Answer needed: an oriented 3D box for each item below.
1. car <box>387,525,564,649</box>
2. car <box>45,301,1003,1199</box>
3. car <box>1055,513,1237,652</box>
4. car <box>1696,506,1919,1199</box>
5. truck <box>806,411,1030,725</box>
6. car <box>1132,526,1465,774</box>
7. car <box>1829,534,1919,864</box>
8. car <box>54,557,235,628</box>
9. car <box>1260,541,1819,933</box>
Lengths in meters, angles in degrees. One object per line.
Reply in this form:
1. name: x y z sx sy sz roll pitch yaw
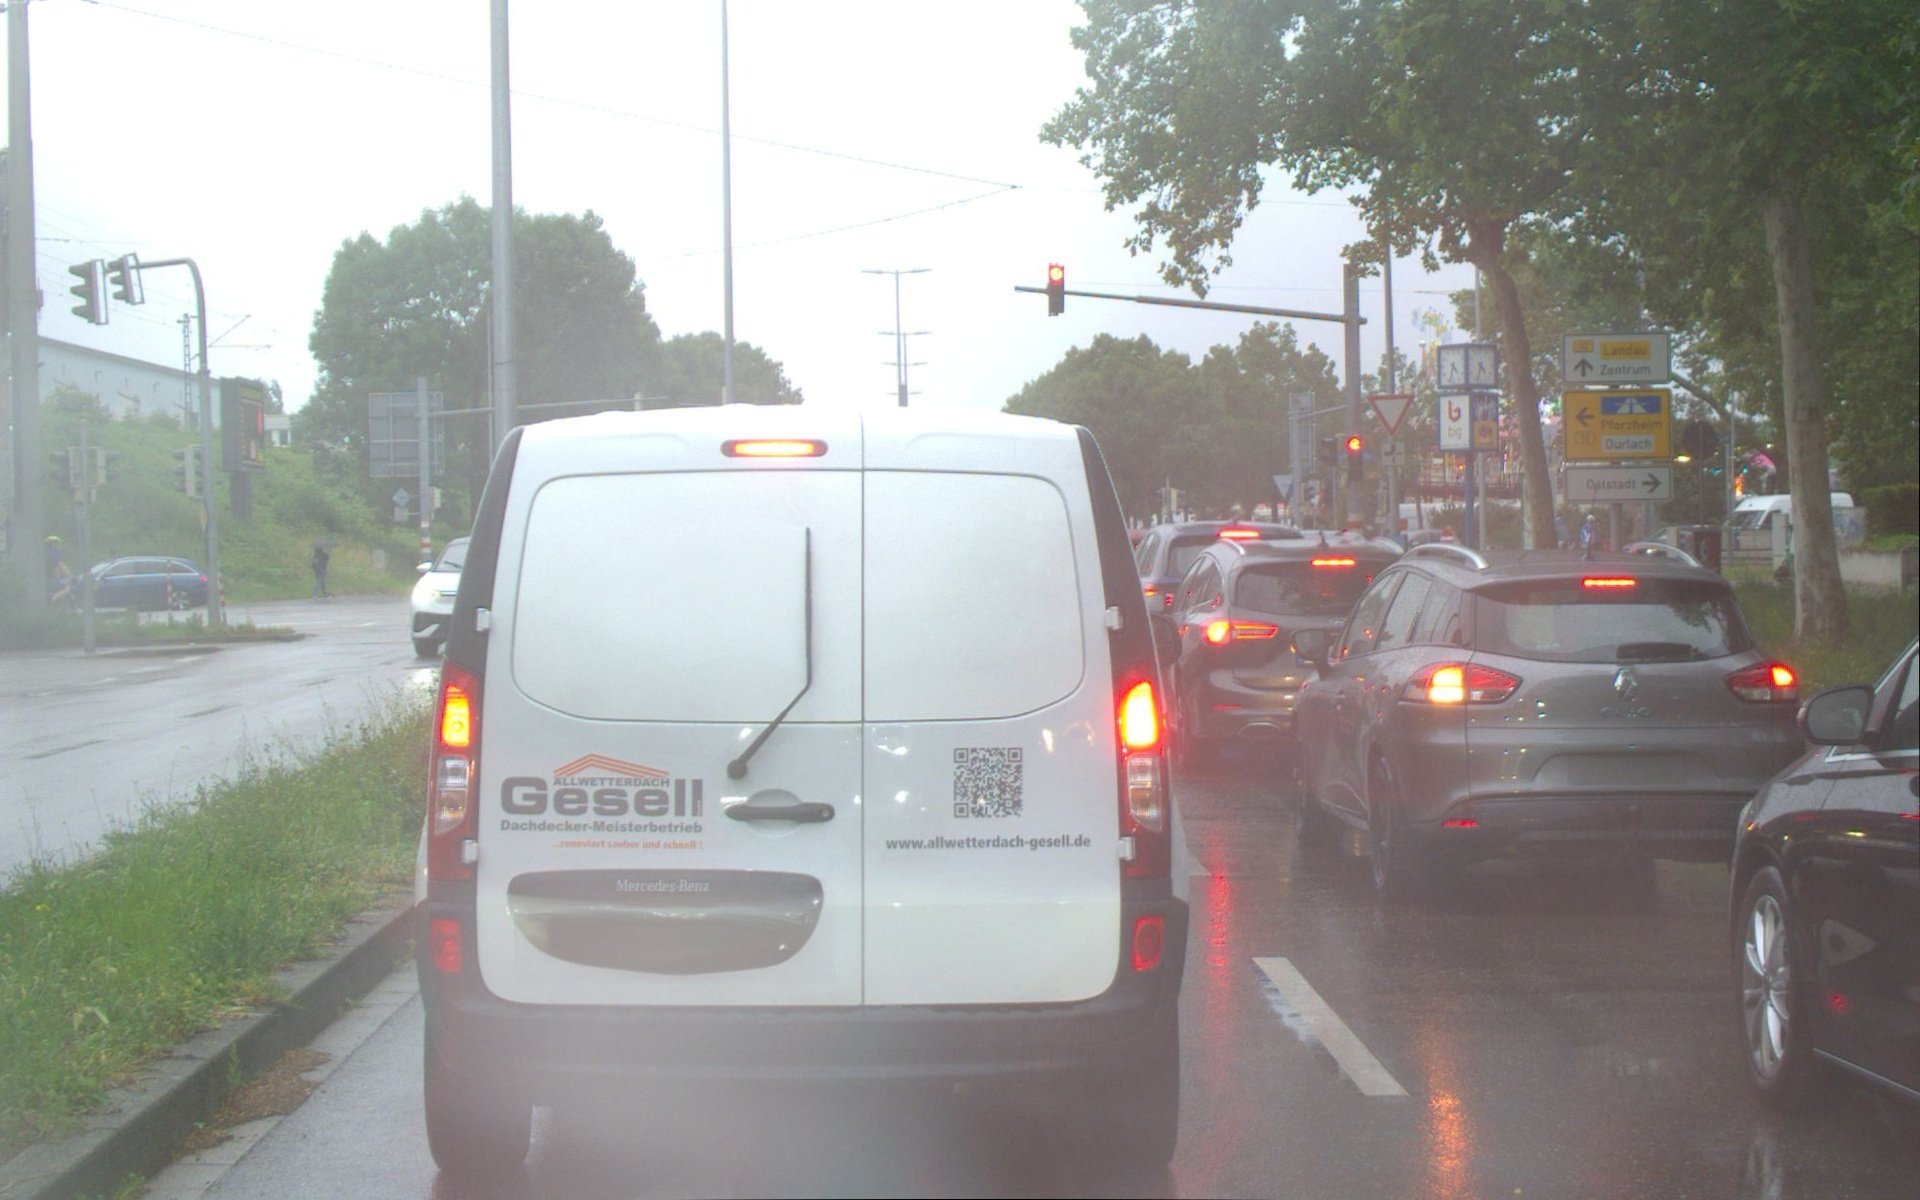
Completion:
1. car: -6.653 -0.219 47.596 1.962 1.520 4.335 -2 2 -2
2. car: -0.989 0.336 9.196 1.993 2.007 4.001 0 1 -2
3. car: 1.991 -0.233 37.715 1.711 1.440 4.000 0 1 -1
4. car: 2.946 0.582 7.390 1.708 1.544 4.001 0 2 -2
5. truck: -0.408 -0.278 28.995 1.756 2.458 4.000 0 1 -2
6. car: 2.113 0.254 22.415 1.711 1.440 4.000 0 1 -1
7. car: 5.393 0.474 15.379 1.839 1.531 4.112 0 1 -2
8. car: -19.789 -0.208 83.418 3.934 1.520 1.775 -3 2 -26
9. car: 2.376 0.487 15.040 1.711 1.440 4.000 0 1 -1
